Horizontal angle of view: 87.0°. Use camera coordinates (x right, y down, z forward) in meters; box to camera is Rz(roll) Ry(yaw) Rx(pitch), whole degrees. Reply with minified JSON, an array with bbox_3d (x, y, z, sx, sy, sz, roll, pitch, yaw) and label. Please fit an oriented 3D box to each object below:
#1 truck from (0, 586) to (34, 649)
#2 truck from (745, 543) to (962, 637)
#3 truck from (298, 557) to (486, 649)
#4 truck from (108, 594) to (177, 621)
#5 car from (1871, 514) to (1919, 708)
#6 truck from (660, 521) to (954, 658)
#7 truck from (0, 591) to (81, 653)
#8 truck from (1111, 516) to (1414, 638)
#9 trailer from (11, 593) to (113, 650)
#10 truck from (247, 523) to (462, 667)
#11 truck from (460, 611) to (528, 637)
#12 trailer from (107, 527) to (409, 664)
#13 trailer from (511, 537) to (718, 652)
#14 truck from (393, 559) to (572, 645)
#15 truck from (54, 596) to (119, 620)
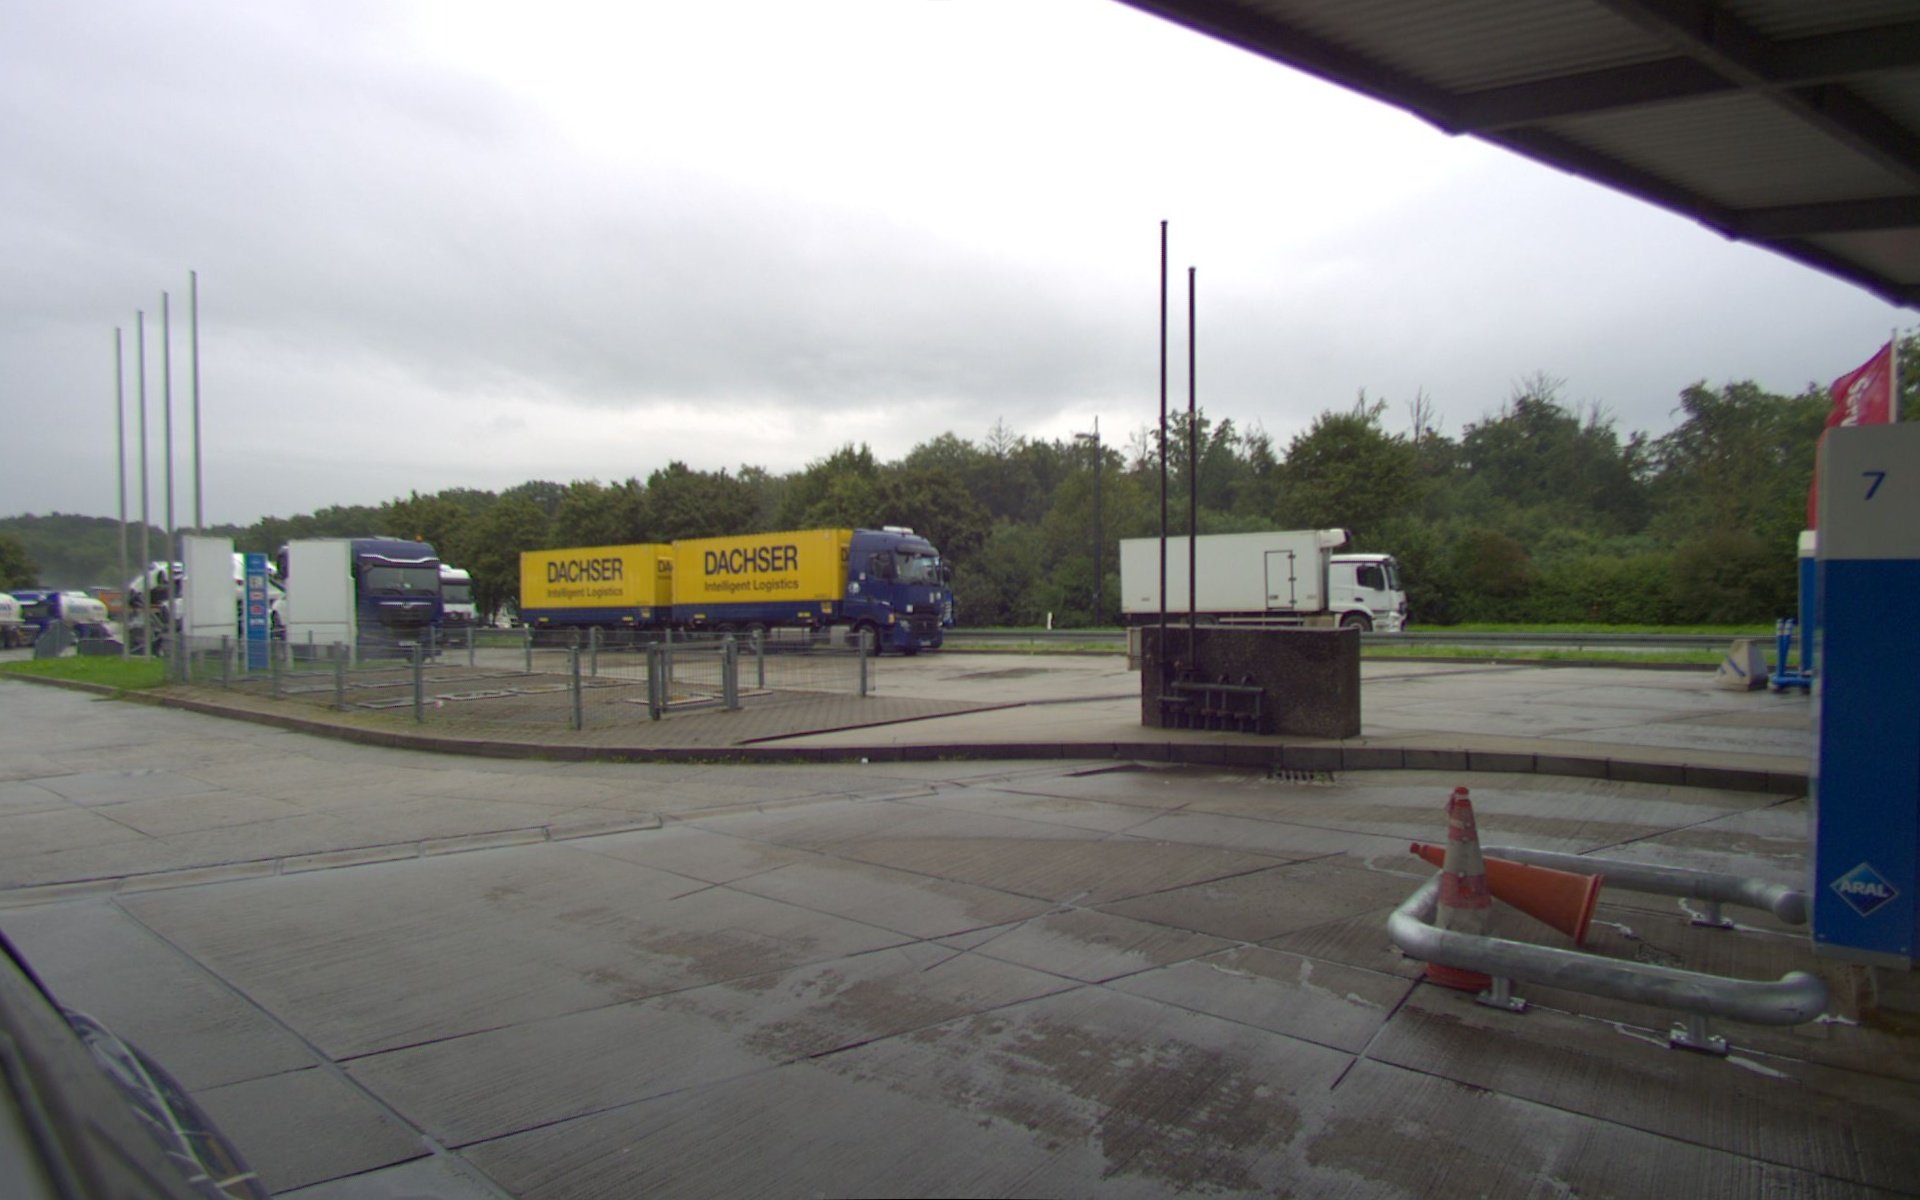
[{"bbox_3d":[-55.564,1.014,55.019,3.196,3.591,12.013,-1,0,-19],"label":"truck"},{"bbox_3d":[-5.146,-0.400,47.692,10.433,4.063,2.961,-1,0,30],"label":"truck"},{"bbox_3d":[-27.307,0.176,48.448,10.433,4.063,2.961,-1,0,30],"label":"truck"},{"bbox_3d":[-113.668,1.011,140.637,14.626,3.591,3.215,0,-1,34],"label":"truck"},{"bbox_3d":[14.867,0.118,12.382,5.272,2.482,2.298,-1,-2,37],"label":"car"},{"bbox_3d":[-5.396,-0.268,33.958,10.608,4.063,2.743,-1,0,33],"label":"truck"},{"bbox_3d":[-59.430,1.366,64.998,3.000,3.795,6.486,-1,0,-27],"label":"truck"},{"bbox_3d":[11.067,-0.730,37.701,10.433,4.063,2.961,-1,0,30],"label":"truck"},{"bbox_3d":[-62.275,1.429,70.485,2.854,3.666,10.605,-1,0,-28],"label":"trailer"},{"bbox_3d":[-18.999,-0.113,31.624,7.244,4.063,2.957,-1,0,34],"label":"truck"},{"bbox_3d":[-44.310,2.266,96.246,6.158,2.321,3.101,-1,-1,33],"label":"truck"},{"bbox_3d":[-25.423,-0.057,35.927,16.563,4.063,2.957,-1,0,34],"label":"trailer"},{"bbox_3d":[-13.552,-0.164,39.291,8.833,4.063,2.743,-1,0,33],"label":"trailer"},{"bbox_3d":[-24.786,0.142,52.277,10.433,4.063,2.961,-1,0,30],"label":"truck"},{"bbox_3d":[-132.420,1.245,153.209,16.515,3.591,3.215,-1,0,34],"label":"truck"}]
